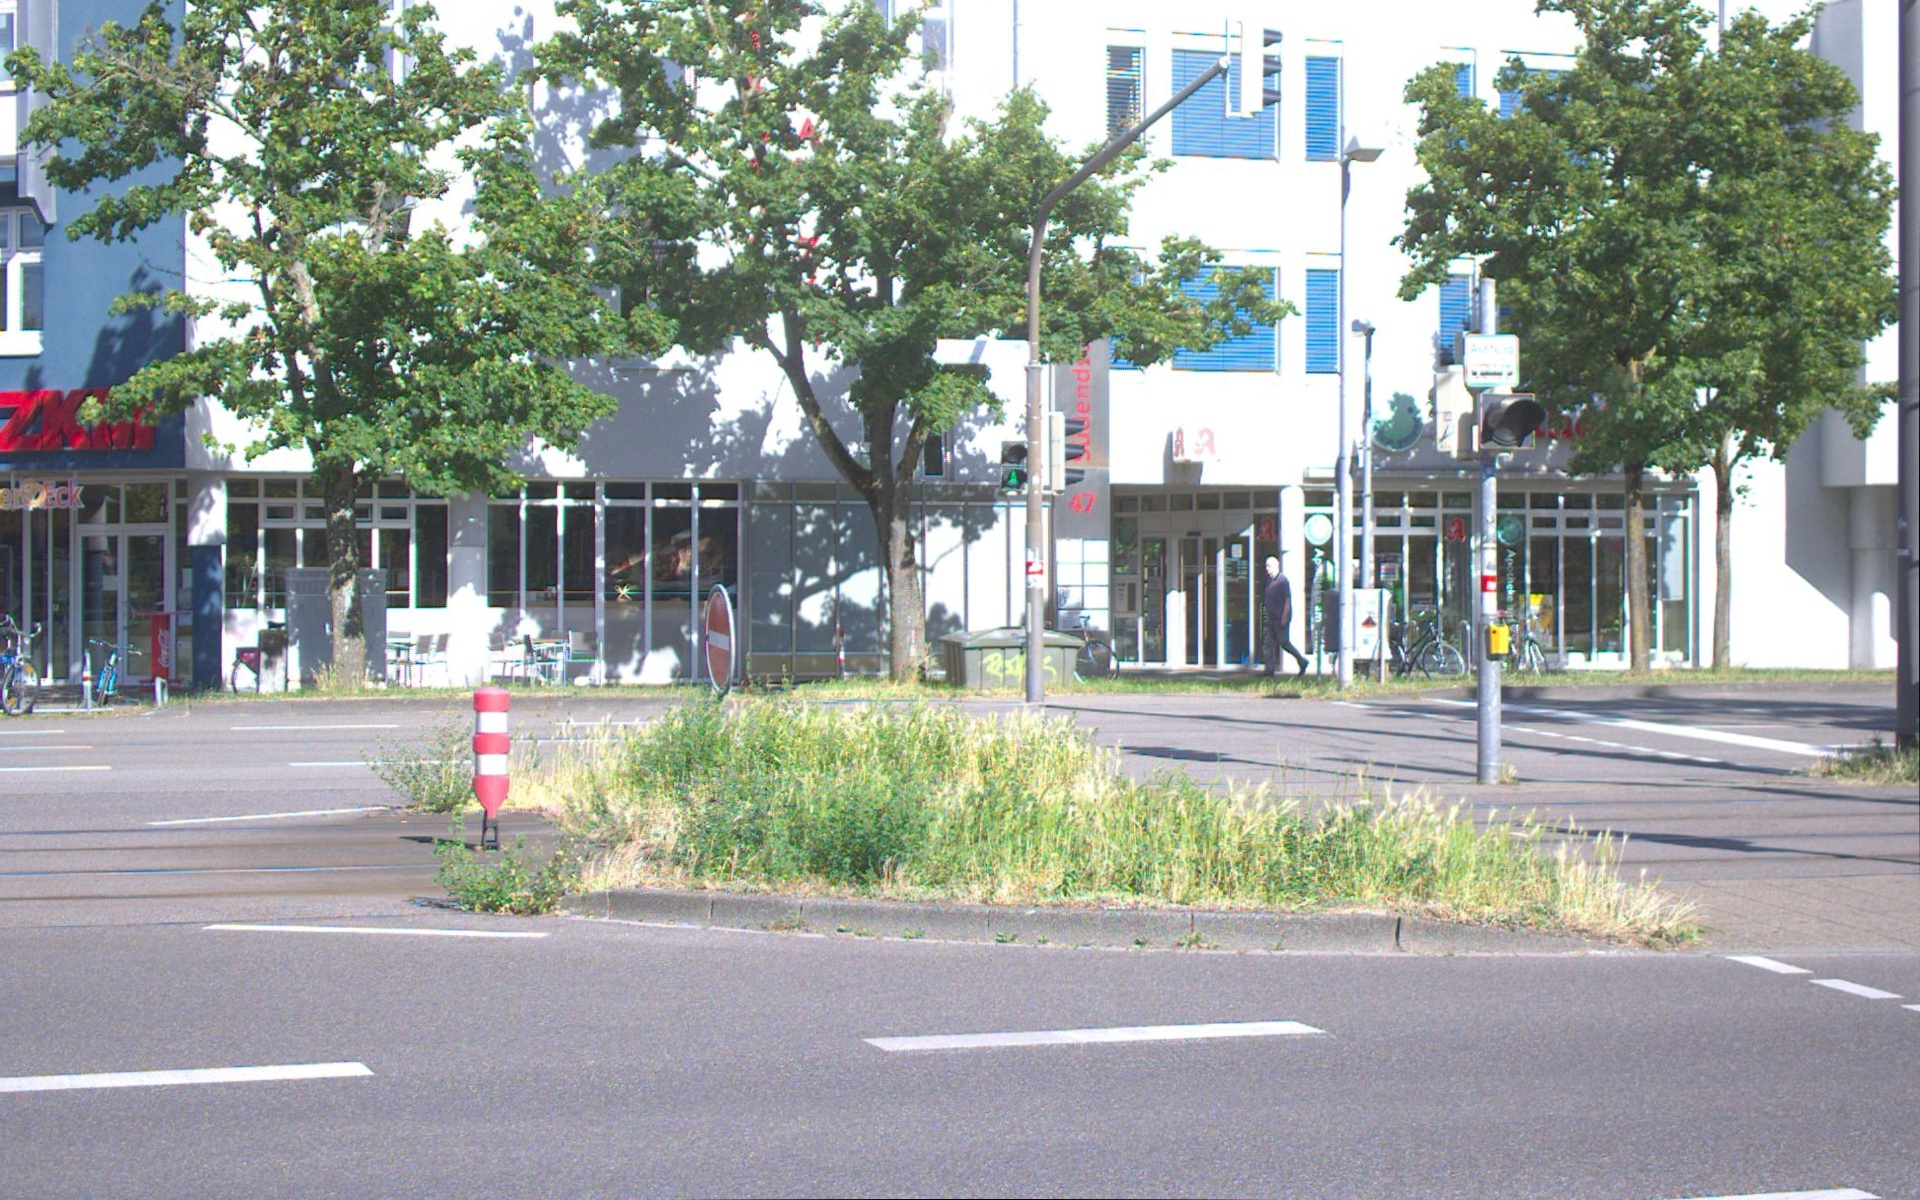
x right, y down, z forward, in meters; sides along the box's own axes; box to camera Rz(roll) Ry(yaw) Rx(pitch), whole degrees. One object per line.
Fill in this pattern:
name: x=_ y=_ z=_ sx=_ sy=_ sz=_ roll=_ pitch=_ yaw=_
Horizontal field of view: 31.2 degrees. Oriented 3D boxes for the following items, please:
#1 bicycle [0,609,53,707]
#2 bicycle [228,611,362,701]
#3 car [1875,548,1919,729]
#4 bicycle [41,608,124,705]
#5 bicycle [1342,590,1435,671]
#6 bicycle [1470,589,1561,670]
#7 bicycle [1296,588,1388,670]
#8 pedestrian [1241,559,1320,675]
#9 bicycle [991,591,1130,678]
bicycle: x=-10.208 y=0.615 z=37.016 sx=0.471 sy=1.024 sz=1.516 roll=0 pitch=0 yaw=-30
bicycle: x=-7.767 y=0.651 z=40.216 sx=1.511 sy=1.024 sz=0.473 roll=0 pitch=0 yaw=-8
car: x=10.761 y=0.334 z=30.860 sx=4.499 sy=1.604 sz=2.000 roll=0 pitch=0 yaw=-10
bicycle: x=-9.643 y=0.610 z=37.754 sx=0.471 sy=1.024 sz=1.516 roll=0 pitch=0 yaw=-31
bicycle: x=6.337 y=0.443 z=50.919 sx=0.560 sy=1.178 sz=1.870 roll=0 pitch=0 yaw=-20
bicycle: x=8.248 y=0.425 z=51.120 sx=0.560 sy=1.178 sz=1.870 roll=0 pitch=0 yaw=-17
bicycle: x=5.584 y=0.414 z=50.340 sx=0.560 sy=1.178 sz=1.870 roll=0 pitch=0 yaw=-20
pedestrian: x=4.796 y=0.254 z=51.502 sx=0.989 sy=1.717 sz=0.654 roll=0 pitch=0 yaw=-20
bicycle: x=1.394 y=0.475 z=47.700 sx=1.863 sy=1.178 sz=0.562 roll=0 pitch=0 yaw=-23
